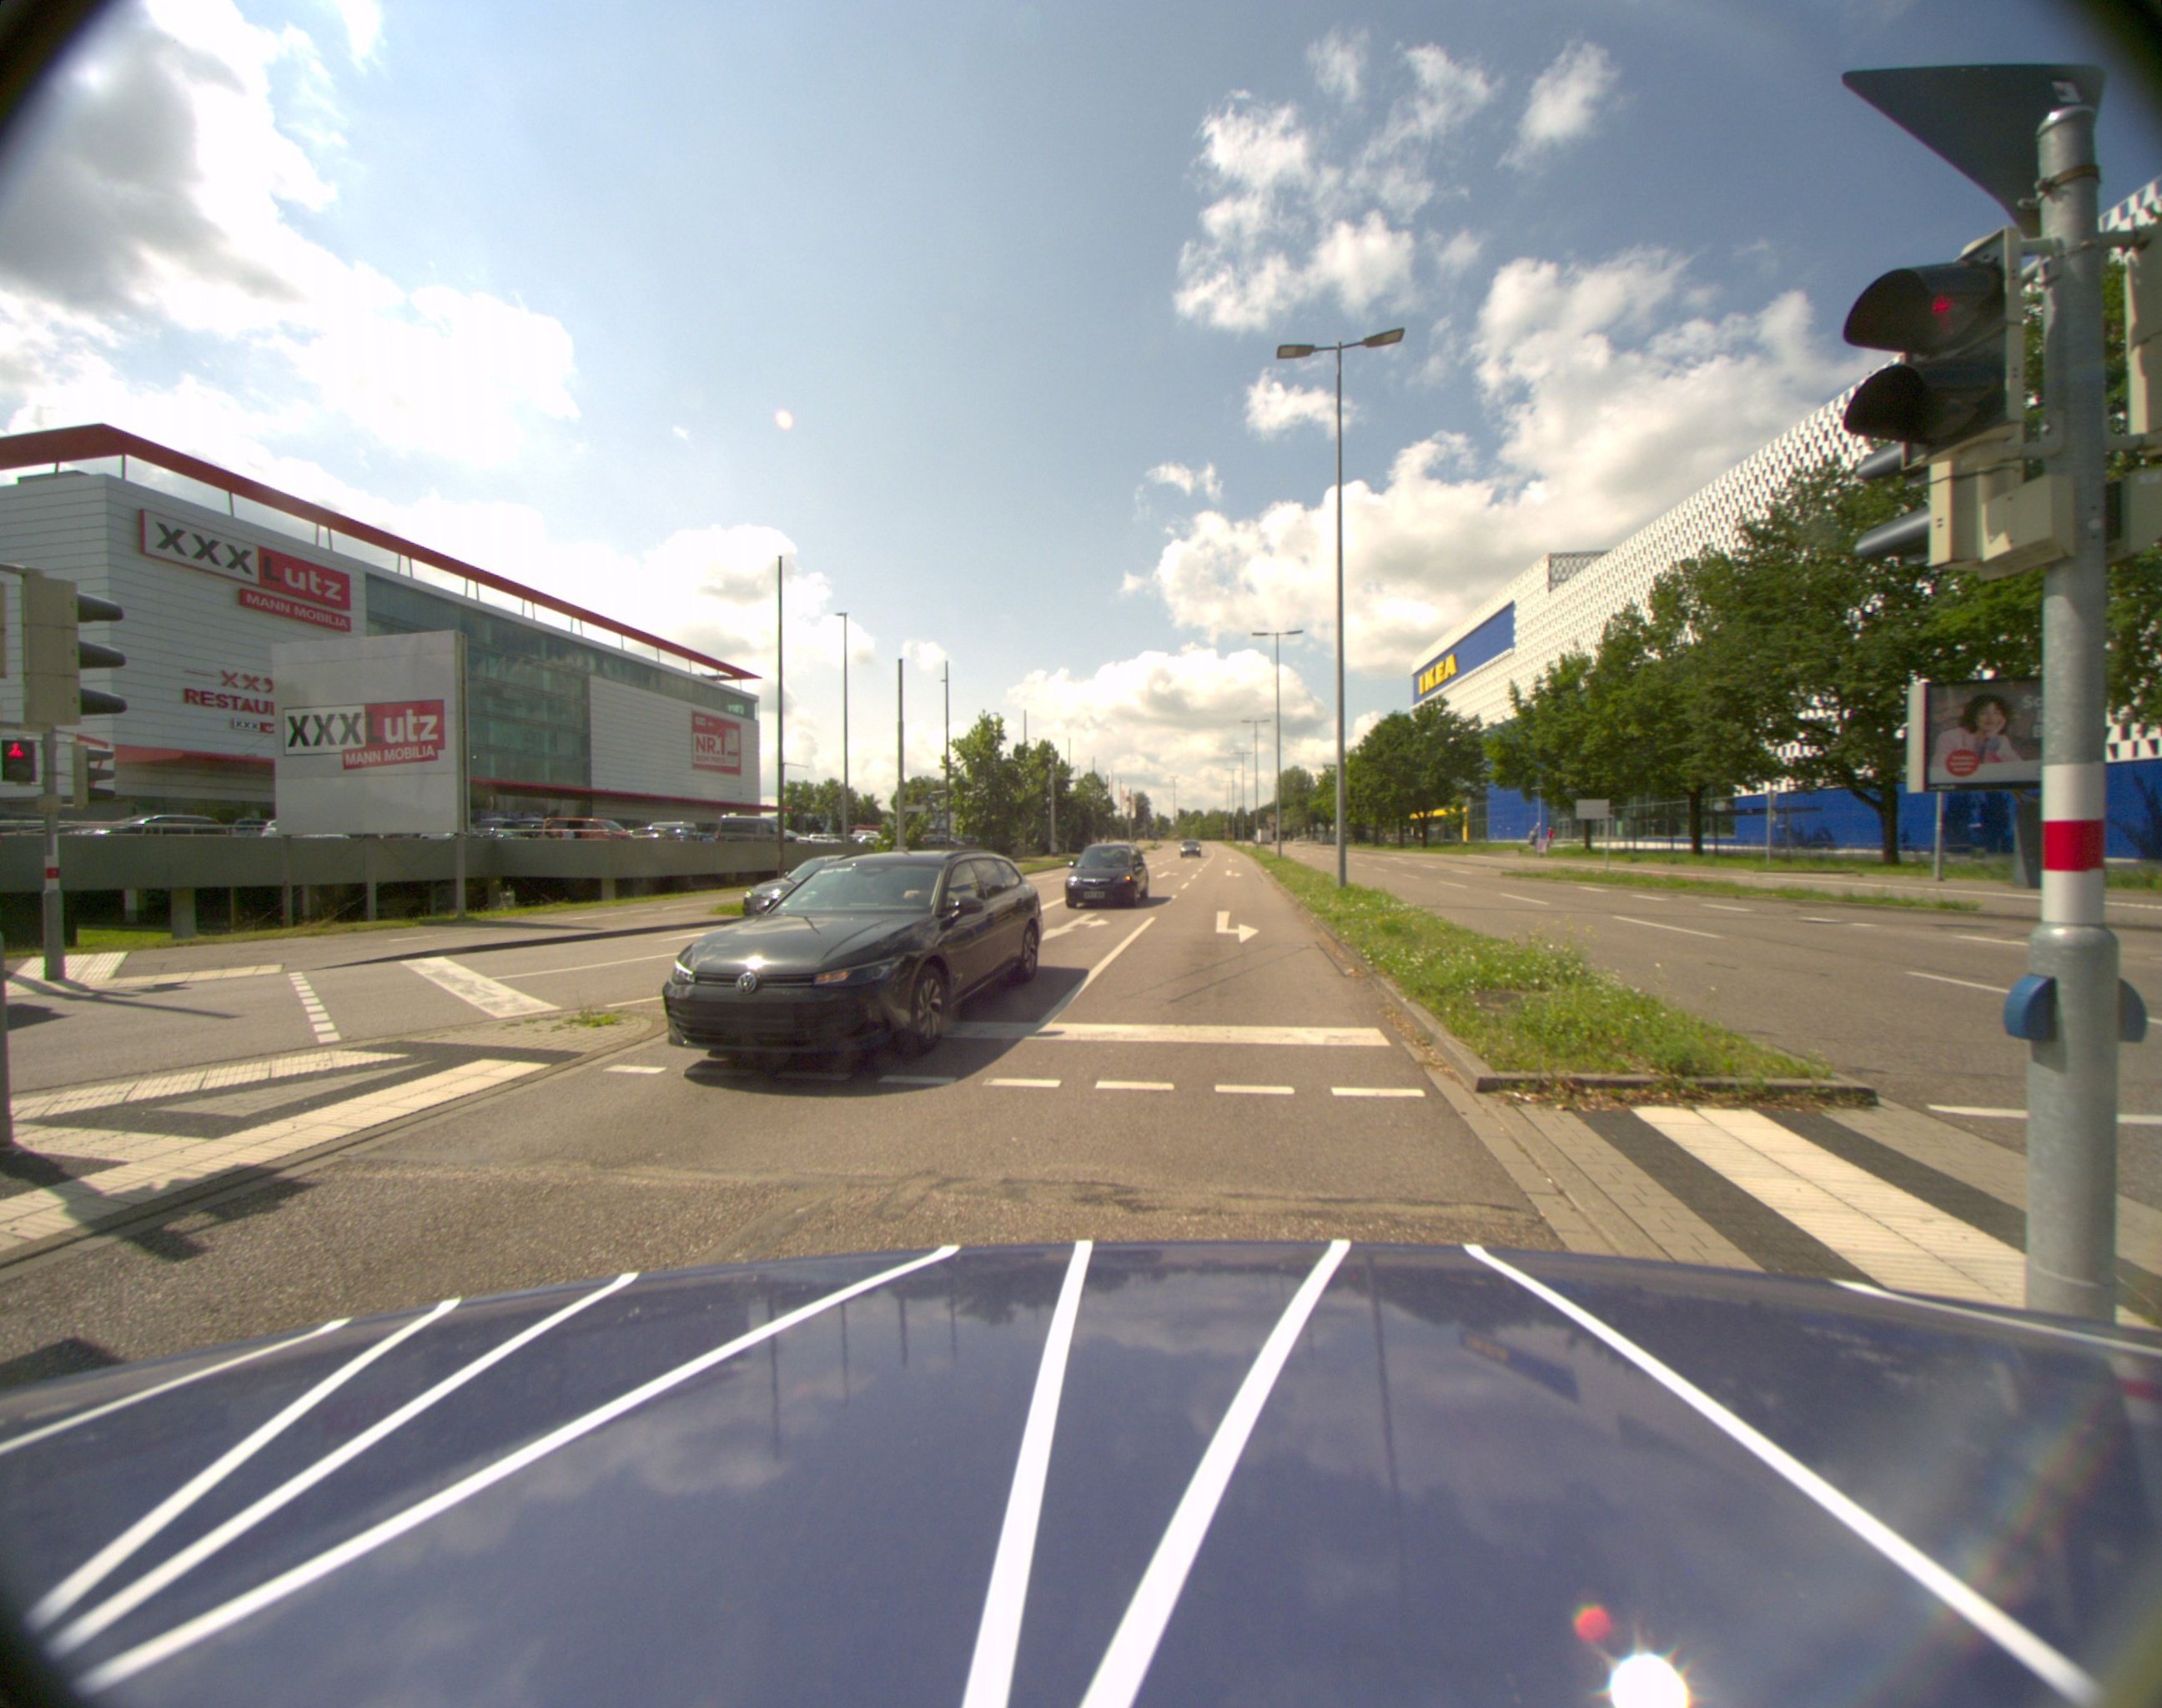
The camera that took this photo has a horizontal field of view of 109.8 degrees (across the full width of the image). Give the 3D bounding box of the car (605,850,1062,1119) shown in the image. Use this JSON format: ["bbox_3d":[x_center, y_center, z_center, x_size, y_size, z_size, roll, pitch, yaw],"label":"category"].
[{"bbox_3d":[-1.649,0.795,7.284,1.811,1.470,5.207,-1,2,11],"label":"car"}]

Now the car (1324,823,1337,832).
[{"bbox_3d":[50.297,-5.426,153.138,1.939,1.675,4.002,-2,2,12],"label":"car"}]

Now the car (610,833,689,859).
[{"bbox_3d":[-29.322,-0.564,51.700,4.416,1.596,1.956,-1,2,10],"label":"car"}]

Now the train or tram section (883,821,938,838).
[{"bbox_3d":[-43.072,-6.175,192.028,13.086,4.347,3.733,1,3,9],"label":"train or tram section"}]

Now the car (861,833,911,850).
[{"bbox_3d":[-19.869,-1.230,77.382,4.416,1.596,1.956,-1,2,10],"label":"car"}]

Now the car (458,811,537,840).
[{"bbox_3d":[-39.088,-1.916,50.957,3.994,1.740,1.917,-2,2,10],"label":"car"}]

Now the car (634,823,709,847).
[{"bbox_3d":[-29.265,-1.346,54.371,4.416,1.596,1.956,-1,2,12],"label":"car"}]

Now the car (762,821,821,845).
[{"bbox_3d":[-23.277,-1.686,61.100,3.993,1.784,1.750,-2,3,12],"label":"car"}]

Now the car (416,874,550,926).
[{"bbox_3d":[-24.559,1.837,31.427,1.997,1.740,4.001,-1,2,8],"label":"car"}]

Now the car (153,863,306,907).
[{"bbox_3d":[-40.125,1.433,35.983,1.997,1.740,4.365,-1,2,8],"label":"car"}]

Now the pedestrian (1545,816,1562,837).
[{"bbox_3d":[39.525,-2.296,63.592,0.853,1.718,1.165,-1,3,14],"label":"pedestrian"}]

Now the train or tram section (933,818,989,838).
[{"bbox_3d":[-29.907,-6.505,190.164,13.087,4.647,3.733,-2,3,9],"label":"train or tram section"}]

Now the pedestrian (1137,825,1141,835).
[{"bbox_3d":[11.354,-4.699,148.374,0.528,1.804,0.675,-4,4,-41],"label":"pedestrian"}]

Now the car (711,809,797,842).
[{"bbox_3d":[-24.688,-2.158,57.429,5.791,2.271,1.750,-2,3,8],"label":"car"}]

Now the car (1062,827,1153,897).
[{"bbox_3d":[0.769,0.129,18.713,1.605,1.521,4.272,0,1,11],"label":"car"}]

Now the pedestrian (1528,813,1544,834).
[{"bbox_3d":[38.378,-2.566,64.119,0.853,1.718,1.165,-1,3,14],"label":"pedestrian"}]

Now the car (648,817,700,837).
[{"bbox_3d":[-39.769,-2.661,74.276,3.994,1.740,1.917,-2,2,10],"label":"car"}]

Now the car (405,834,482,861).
[{"bbox_3d":[-45.313,-0.455,54.039,4.417,1.813,1.560,-1,2,8],"label":"car"}]

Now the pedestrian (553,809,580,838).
[{"bbox_3d":[-30.745,-1.823,45.445,1.020,1.733,0.706,-2,3,-2],"label":"pedestrian"}]

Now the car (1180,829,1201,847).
[{"bbox_3d":[9.384,-1.377,65.077,1.605,1.521,4.272,0,1,11],"label":"car"}]

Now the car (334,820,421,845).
[{"bbox_3d":[-45.186,-1.388,48.827,4.417,1.463,1.560,-1,2,8],"label":"car"}]

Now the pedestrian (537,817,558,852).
[{"bbox_3d":[-31.684,-1.172,45.155,0.912,2.003,0.705,-4,3,-34],"label":"pedestrian"}]

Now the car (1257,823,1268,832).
[{"bbox_3d":[35.304,-5.137,147.704,1.939,1.675,4.002,-2,2,12],"label":"car"}]

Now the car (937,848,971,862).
[{"bbox_3d":[-18.044,0.105,108.105,4.417,1.754,1.560,-2,3,8],"label":"car"}]

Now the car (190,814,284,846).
[{"bbox_3d":[-51.974,-1.473,46.800,4.417,1.813,1.560,-1,2,8],"label":"car"}]

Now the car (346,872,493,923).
[{"bbox_3d":[-27.782,1.759,32.142,1.997,1.740,4.365,-1,2,8],"label":"car"}]

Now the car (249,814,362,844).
[{"bbox_3d":[-41.865,-1.366,41.043,4.417,1.463,1.955,-1,2,8],"label":"car"}]

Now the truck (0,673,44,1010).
[{"bbox_3d":[-16.262,0.061,5.831,9.082,4.005,3.215,-3,3,-28],"label":"truck"}]

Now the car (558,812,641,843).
[{"bbox_3d":[-29.586,-1.615,46.696,4.180,1.740,1.918,-1,3,16],"label":"car"}]

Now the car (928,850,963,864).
[{"bbox_3d":[-18.607,0.437,104.245,4.417,1.754,1.560,-2,3,8],"label":"car"}]

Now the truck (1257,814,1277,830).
[{"bbox_3d":[34.014,-5.843,139.045,2.970,2.737,5.786,-2,2,9],"label":"truck"}]

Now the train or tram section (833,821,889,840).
[{"bbox_3d":[-56.058,-6.002,194.020,13.087,4.536,3.733,-2,3,9],"label":"train or tram section"}]

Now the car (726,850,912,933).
[{"bbox_3d":[-5.676,0.733,17.219,1.776,1.470,4.681,-1,2,12],"label":"car"}]
